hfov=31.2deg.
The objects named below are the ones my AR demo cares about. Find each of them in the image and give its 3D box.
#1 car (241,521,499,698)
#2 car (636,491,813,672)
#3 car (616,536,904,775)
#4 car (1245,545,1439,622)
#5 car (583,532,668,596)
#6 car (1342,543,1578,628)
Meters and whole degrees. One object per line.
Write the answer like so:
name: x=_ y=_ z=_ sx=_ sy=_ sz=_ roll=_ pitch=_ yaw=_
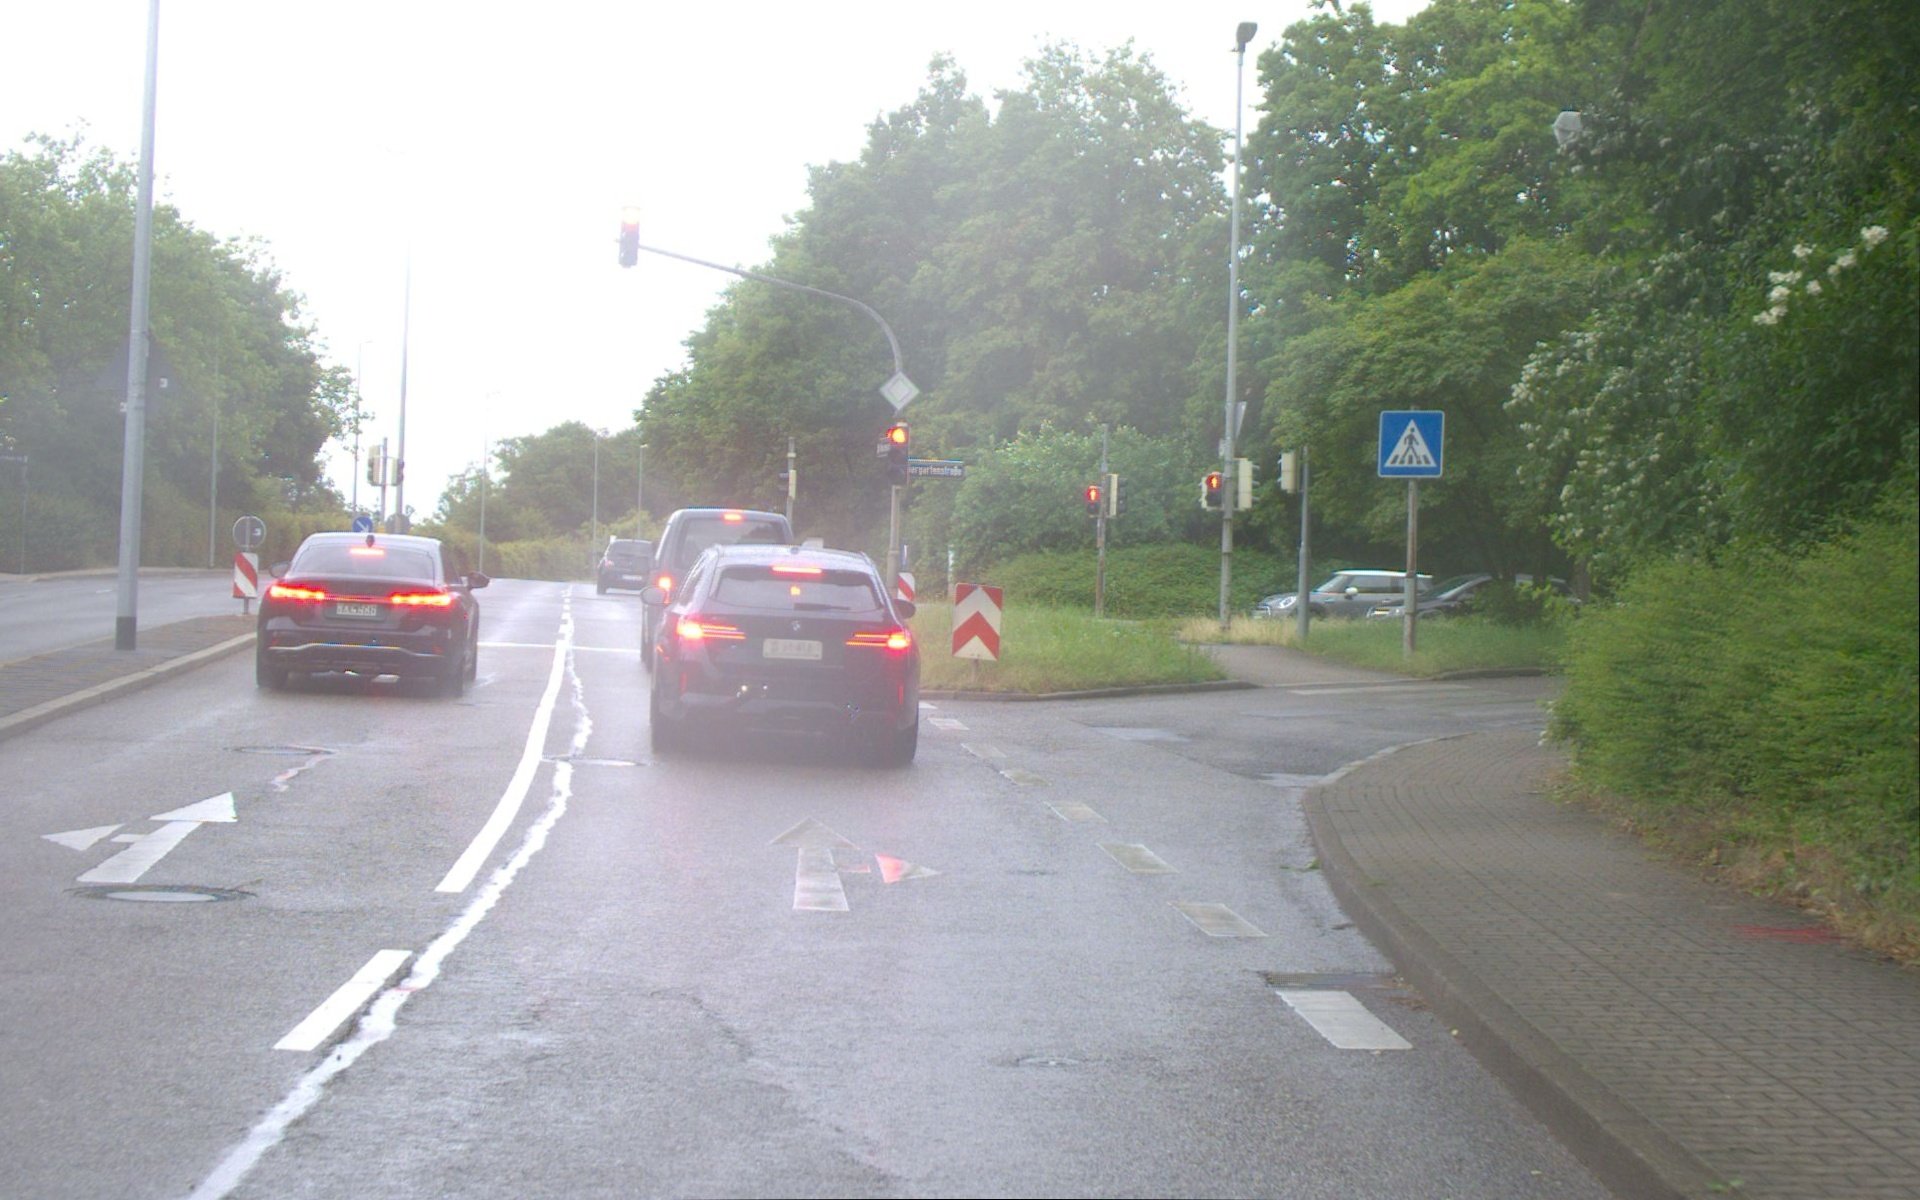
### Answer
car: x=-5.401 y=0.053 z=31.969 sx=1.993 sy=1.522 sz=4.328 roll=0 pitch=1 yaw=-5
car: x=-2.710 y=-0.229 z=39.177 sx=1.817 sy=1.862 sz=3.953 roll=3 pitch=1 yaw=-5
car: x=-1.438 y=0.378 z=25.929 sx=1.898 sy=1.546 sz=4.615 roll=3 pitch=0 yaw=-2
car: x=7.471 y=-0.334 z=67.406 sx=3.501 sy=1.422 sz=1.703 roll=-1 pitch=1 yaw=-5
car: x=-8.702 y=-0.944 z=89.202 sx=1.993 sy=1.618 sz=3.953 roll=0 pitch=1 yaw=-8
car: x=9.294 y=-0.274 z=64.092 sx=3.986 sy=1.504 sz=1.902 roll=1 pitch=1 yaw=-5
